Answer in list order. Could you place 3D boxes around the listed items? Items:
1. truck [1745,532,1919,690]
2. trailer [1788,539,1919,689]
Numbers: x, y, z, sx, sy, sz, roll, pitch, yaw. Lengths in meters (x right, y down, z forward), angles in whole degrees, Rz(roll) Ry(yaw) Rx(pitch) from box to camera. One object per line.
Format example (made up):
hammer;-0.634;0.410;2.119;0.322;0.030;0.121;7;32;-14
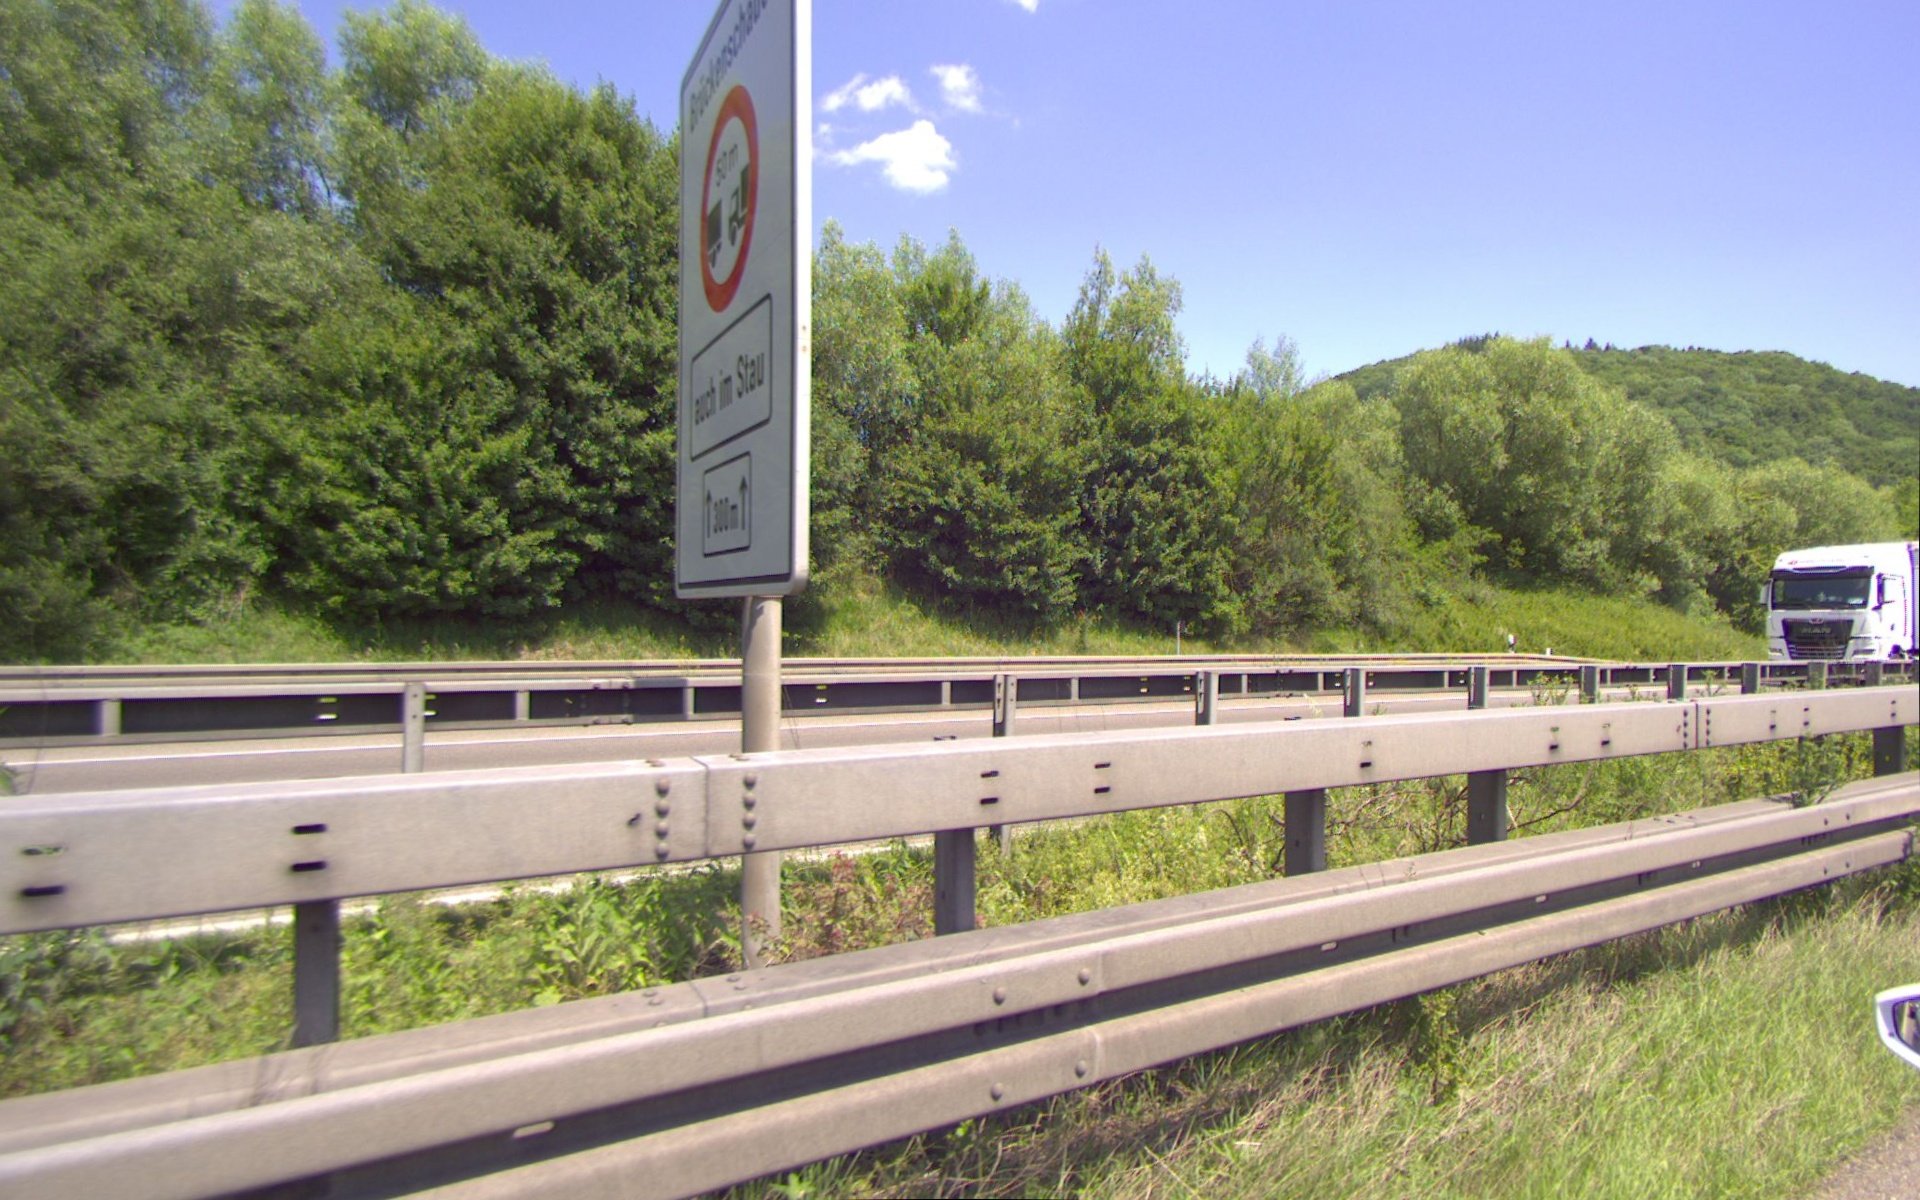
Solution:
truck;24.967;0.366;28.311;5.306;4.054;2.716;1;-1;-30
trailer;31.237;0.516;31.982;13.991;4.053;2.769;1;0;-30
